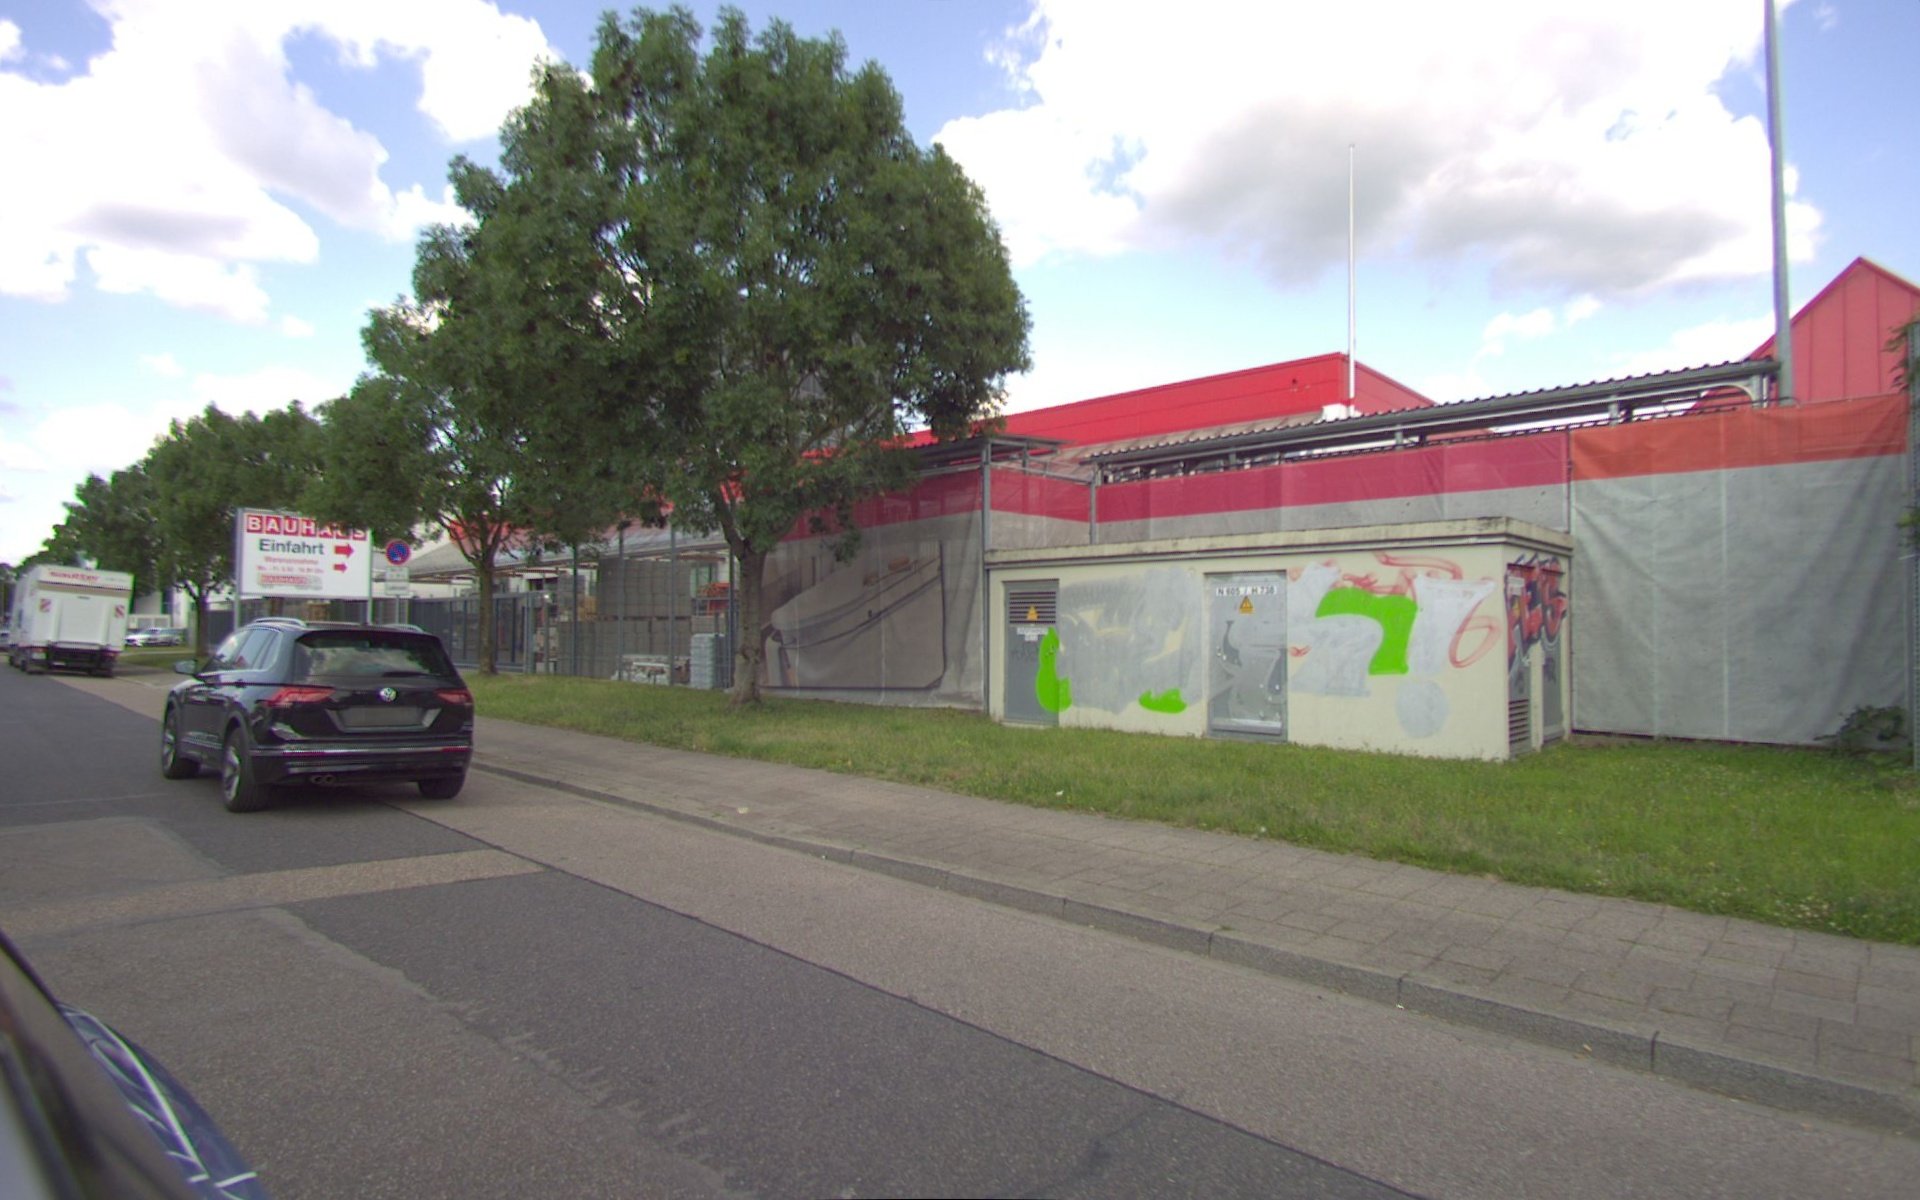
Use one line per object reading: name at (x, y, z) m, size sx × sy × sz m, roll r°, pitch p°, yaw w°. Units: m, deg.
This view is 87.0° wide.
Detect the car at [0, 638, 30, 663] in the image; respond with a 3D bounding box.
car at (-60.805, 3.201, 64.479) m, size 4.000 × 1.587 × 1.956 m, roll -2°, pitch -3°, yaw 43°

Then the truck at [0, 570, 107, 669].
truck at (-38.553, 0.901, 42.898) m, size 7.173 × 3.838 × 2.717 m, roll -2°, pitch -4°, yaw 44°

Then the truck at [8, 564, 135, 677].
truck at (-32.580, 0.795, 36.996) m, size 7.173 × 3.751 × 2.717 m, roll -1°, pitch -4°, yaw 44°

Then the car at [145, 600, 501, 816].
car at (-6.330, 0.955, 9.844) m, size 4.295 × 1.632 × 1.853 m, roll -2°, pitch -7°, yaw 44°
